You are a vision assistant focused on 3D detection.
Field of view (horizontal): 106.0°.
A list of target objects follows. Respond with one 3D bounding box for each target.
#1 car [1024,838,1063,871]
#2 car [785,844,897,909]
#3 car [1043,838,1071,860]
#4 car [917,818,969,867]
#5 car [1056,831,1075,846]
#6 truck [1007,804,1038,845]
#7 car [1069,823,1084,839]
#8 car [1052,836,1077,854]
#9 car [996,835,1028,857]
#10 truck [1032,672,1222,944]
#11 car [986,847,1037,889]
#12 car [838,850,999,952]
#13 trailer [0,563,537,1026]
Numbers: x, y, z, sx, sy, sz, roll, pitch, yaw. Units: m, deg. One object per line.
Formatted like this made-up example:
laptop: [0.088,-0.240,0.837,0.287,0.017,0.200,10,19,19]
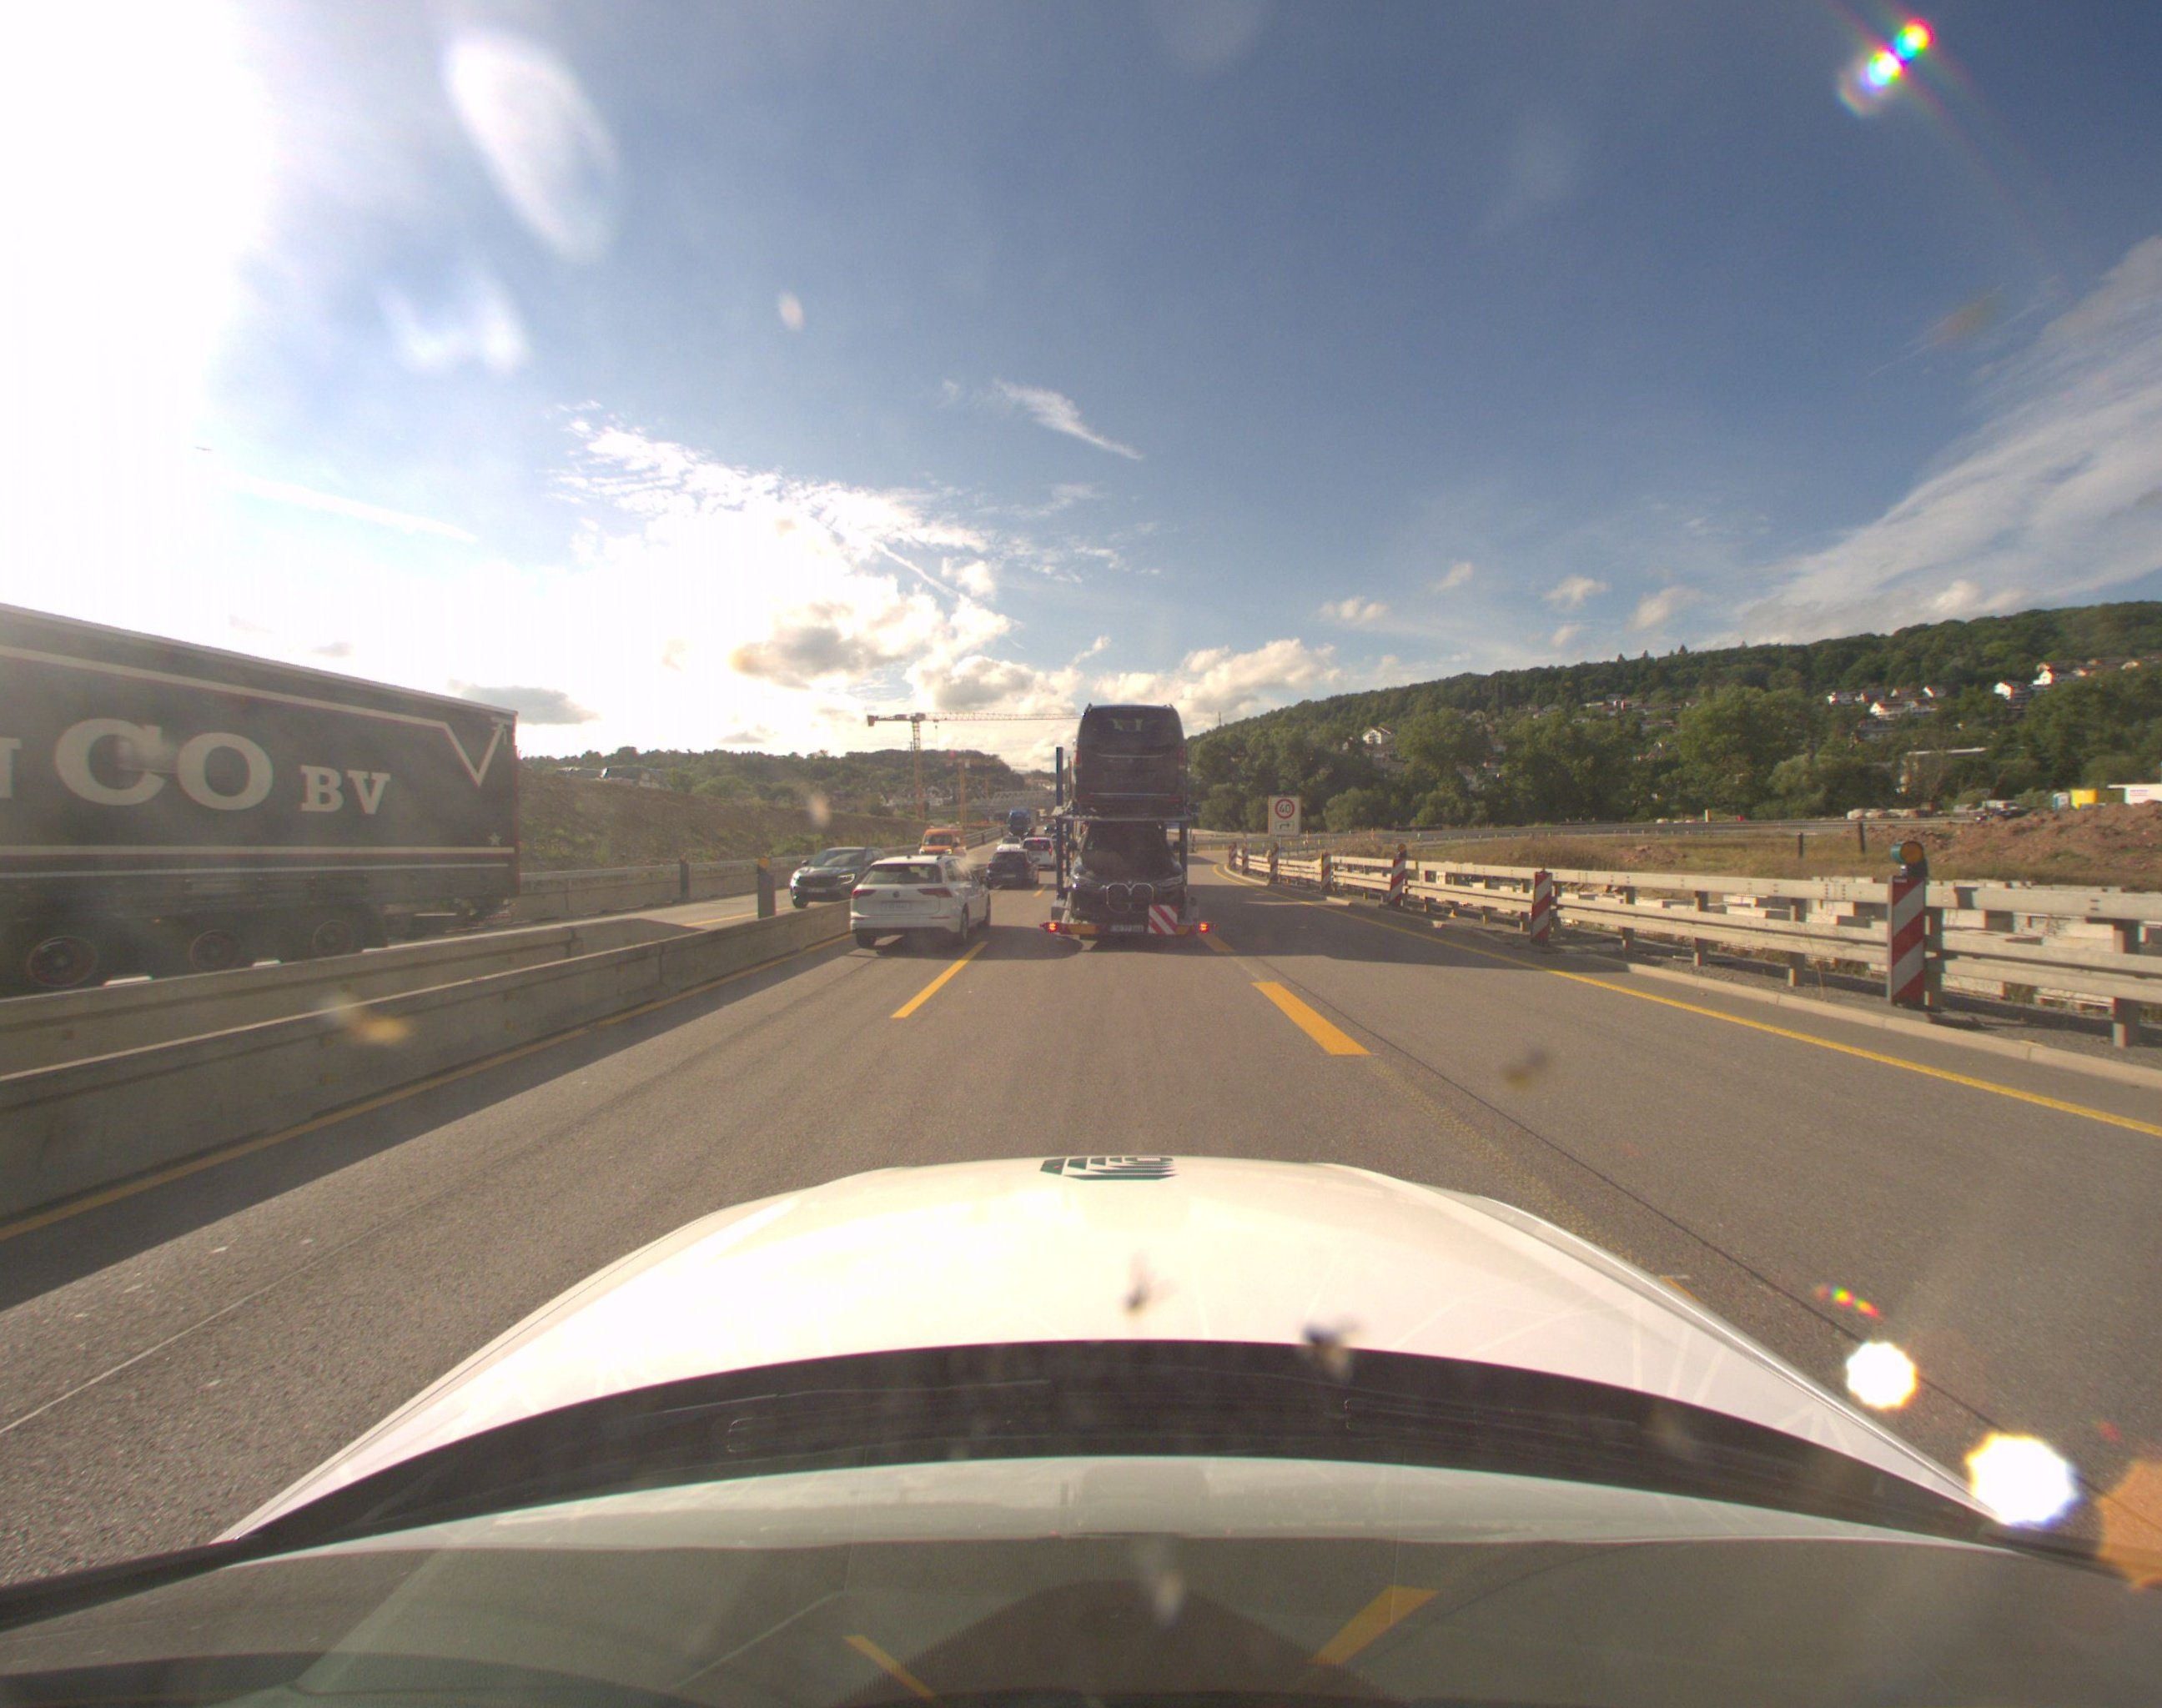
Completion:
car: [-2.055,0.075,46.045,1.815,1.792,4.002,0,-1,3]
car: [-6.667,0.582,23.139,1.838,1.648,4.237,0,0,1]
car: [-1.771,-0.363,61.637,1.987,1.556,4.400,0,-1,1]
car: [-8.649,-0.690,51.622,1.986,2.879,6.068,0,0,2]
car: [-1.769,-1.724,93.871,1.985,1.666,4.003,0,0,3]
truck: [-7.813,-3.903,110.792,2.811,4.789,13.059,0,-1,2]
car: [-0.624,-3.276,114.906,1.986,2.014,4.001,0,-1,2]
car: [-1.508,-0.851,75.546,1.986,1.552,4.003,0,1,2]
car: [-5.397,-0.590,64.163,1.985,1.684,4.003,0,0,3]
truck: [0.908,-0.717,21.379,2.743,3.954,18.895,1,0,1]
car: [-2.559,0.474,30.624,1.717,1.422,3.997,0,1,-2]
car: [-2.635,0.702,14.287,1.763,1.491,4.518,0,0,2]
trailer: [-11.868,-0.582,7.513,2.960,4.422,13.844,1,0,7]
